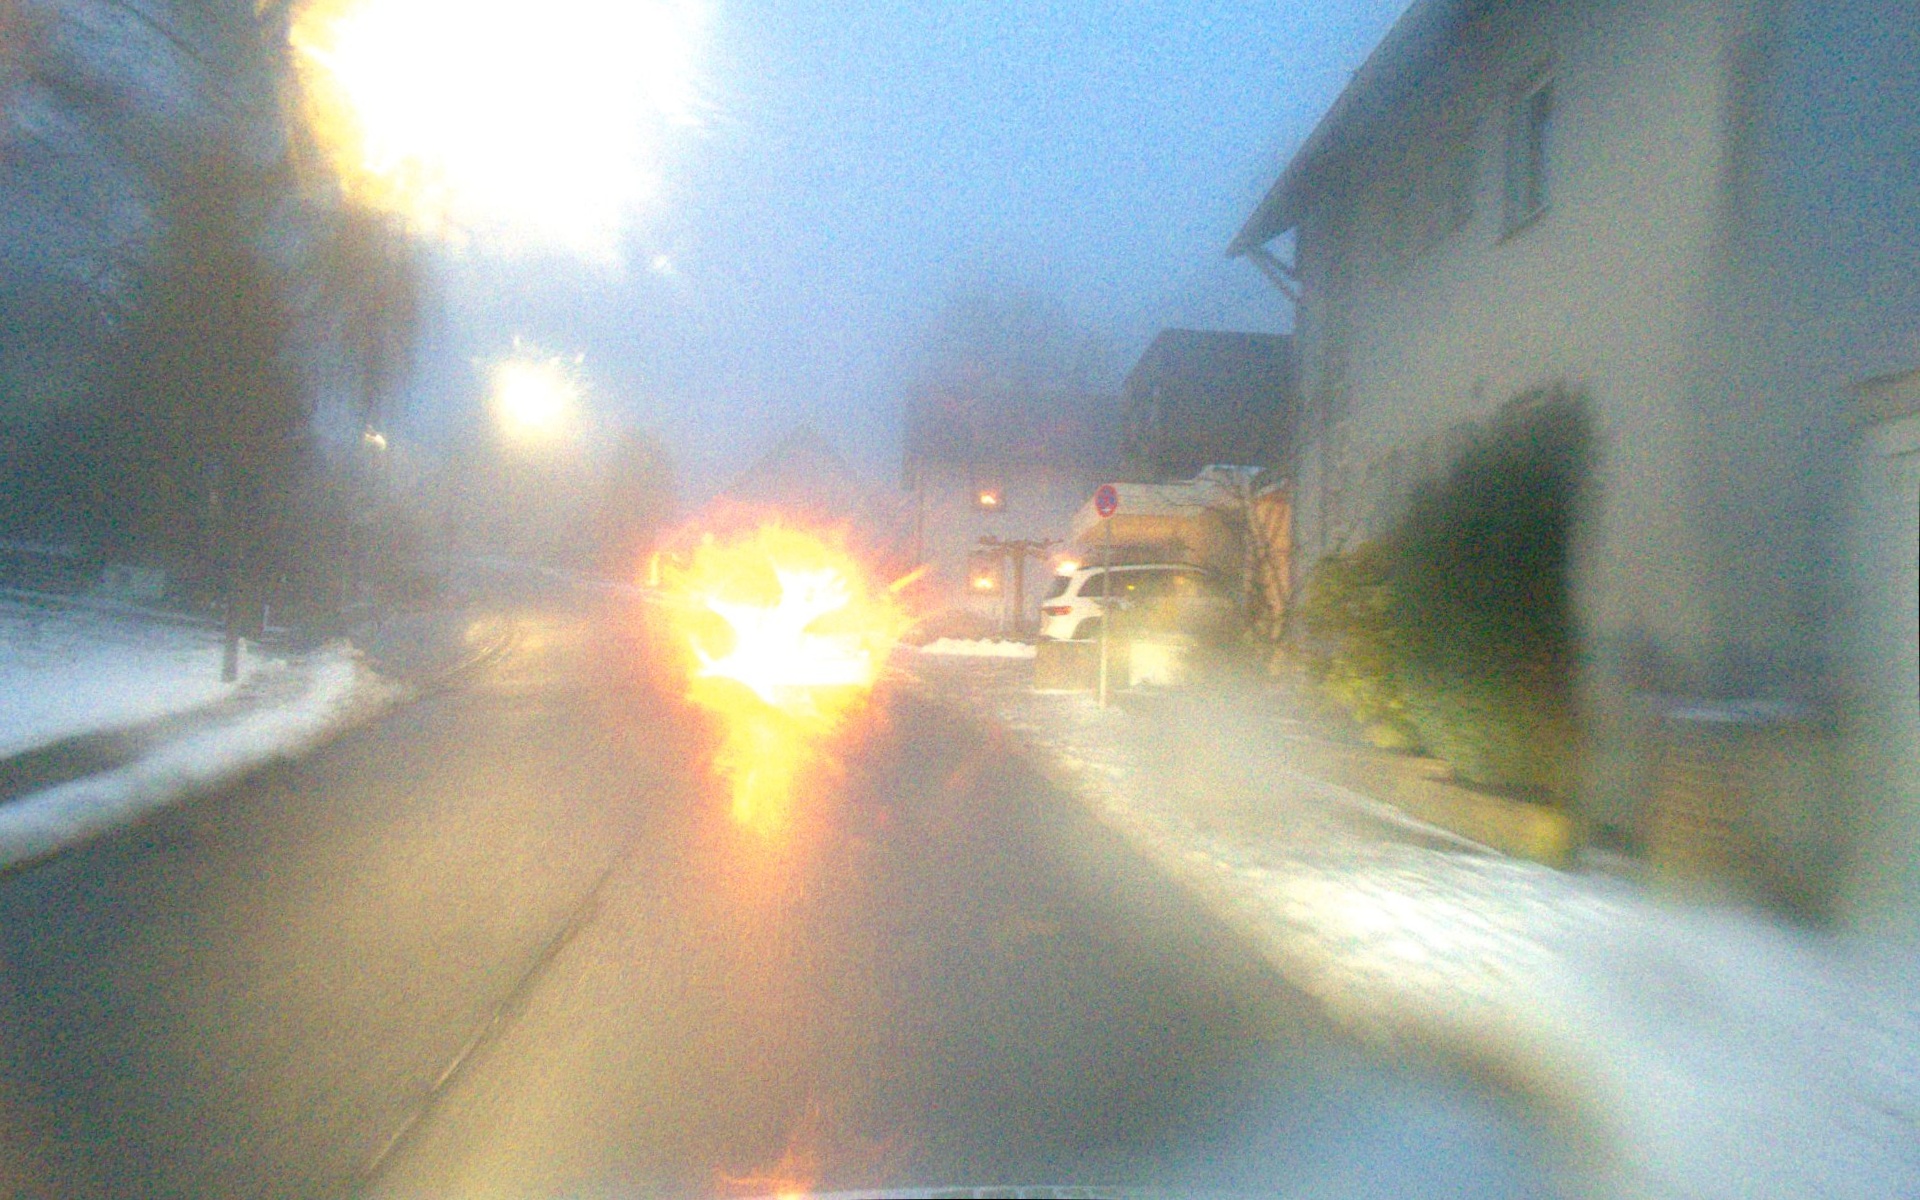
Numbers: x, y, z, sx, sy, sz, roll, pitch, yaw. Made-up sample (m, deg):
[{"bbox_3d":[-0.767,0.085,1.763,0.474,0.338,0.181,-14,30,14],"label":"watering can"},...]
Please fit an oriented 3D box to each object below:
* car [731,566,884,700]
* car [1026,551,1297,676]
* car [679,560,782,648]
[{"bbox_3d":[-2.031,0.410,22.415,1.860,1.637,3.996,1,0,-5],"label":"car"},{"bbox_3d":[3.200,0.215,26.840,4.121,1.891,1.911,1,0,-2],"label":"car"},{"bbox_3d":[-4.900,0.089,35.826,1.954,1.767,3.875,1,0,-5],"label":"car"}]
